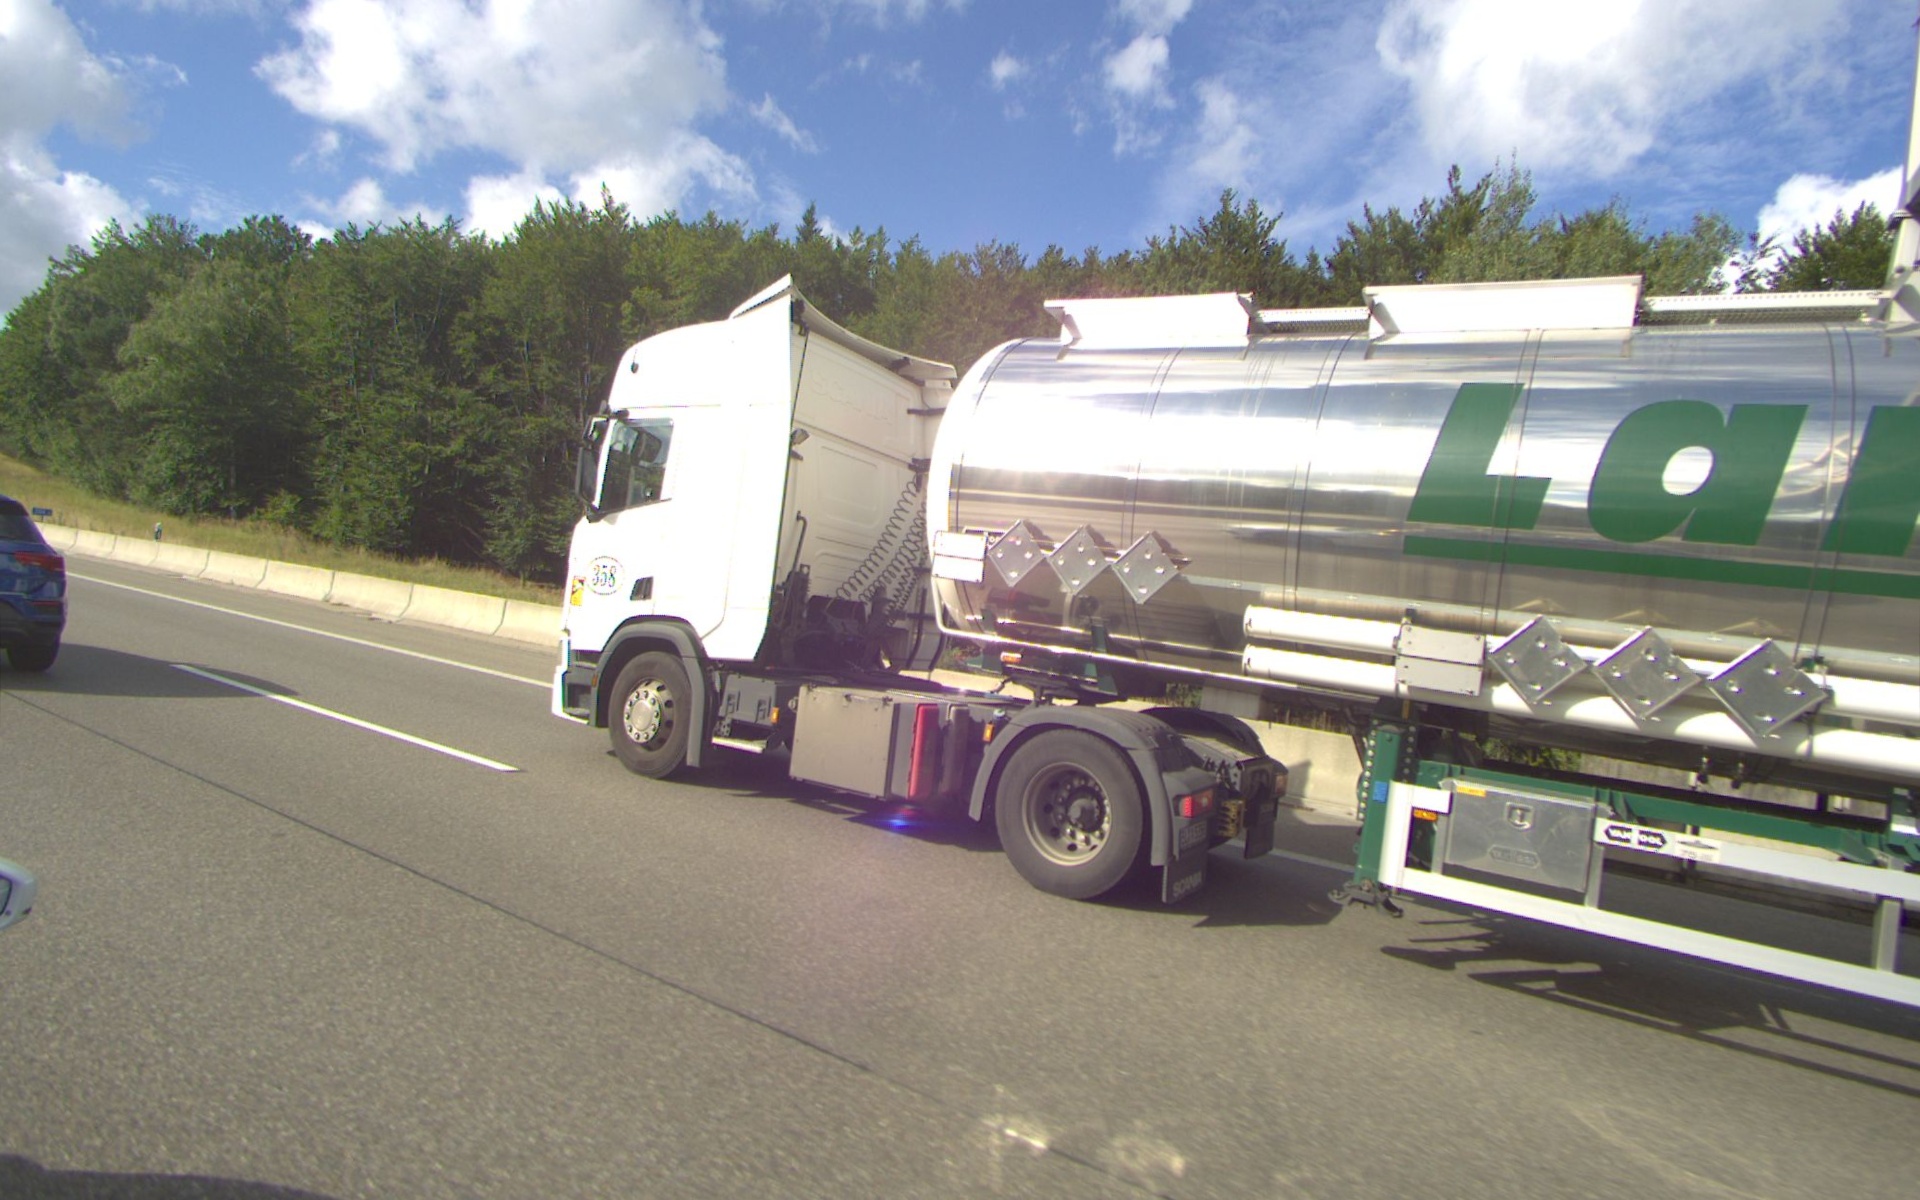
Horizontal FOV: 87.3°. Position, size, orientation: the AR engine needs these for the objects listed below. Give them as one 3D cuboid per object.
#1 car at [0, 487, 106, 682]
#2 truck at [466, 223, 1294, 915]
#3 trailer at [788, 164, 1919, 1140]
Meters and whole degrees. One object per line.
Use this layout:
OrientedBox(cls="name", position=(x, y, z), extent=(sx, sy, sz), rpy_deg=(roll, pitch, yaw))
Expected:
OrientedBox(cls="car", position=(-9.672, -0.365, 8.964), extent=(4.384, 1.548, 1.776), rpy_deg=(7, -1, 32))
OrientedBox(cls="truck", position=(-0.821, -0.366, 8.267), extent=(5.979, 3.870, 2.653), rpy_deg=(7, 0, 31))
OrientedBox(cls="trailer", position=(4.693, 0.302, 4.940), extent=(11.660, 3.813, 2.653), rpy_deg=(7, 0, 31))
